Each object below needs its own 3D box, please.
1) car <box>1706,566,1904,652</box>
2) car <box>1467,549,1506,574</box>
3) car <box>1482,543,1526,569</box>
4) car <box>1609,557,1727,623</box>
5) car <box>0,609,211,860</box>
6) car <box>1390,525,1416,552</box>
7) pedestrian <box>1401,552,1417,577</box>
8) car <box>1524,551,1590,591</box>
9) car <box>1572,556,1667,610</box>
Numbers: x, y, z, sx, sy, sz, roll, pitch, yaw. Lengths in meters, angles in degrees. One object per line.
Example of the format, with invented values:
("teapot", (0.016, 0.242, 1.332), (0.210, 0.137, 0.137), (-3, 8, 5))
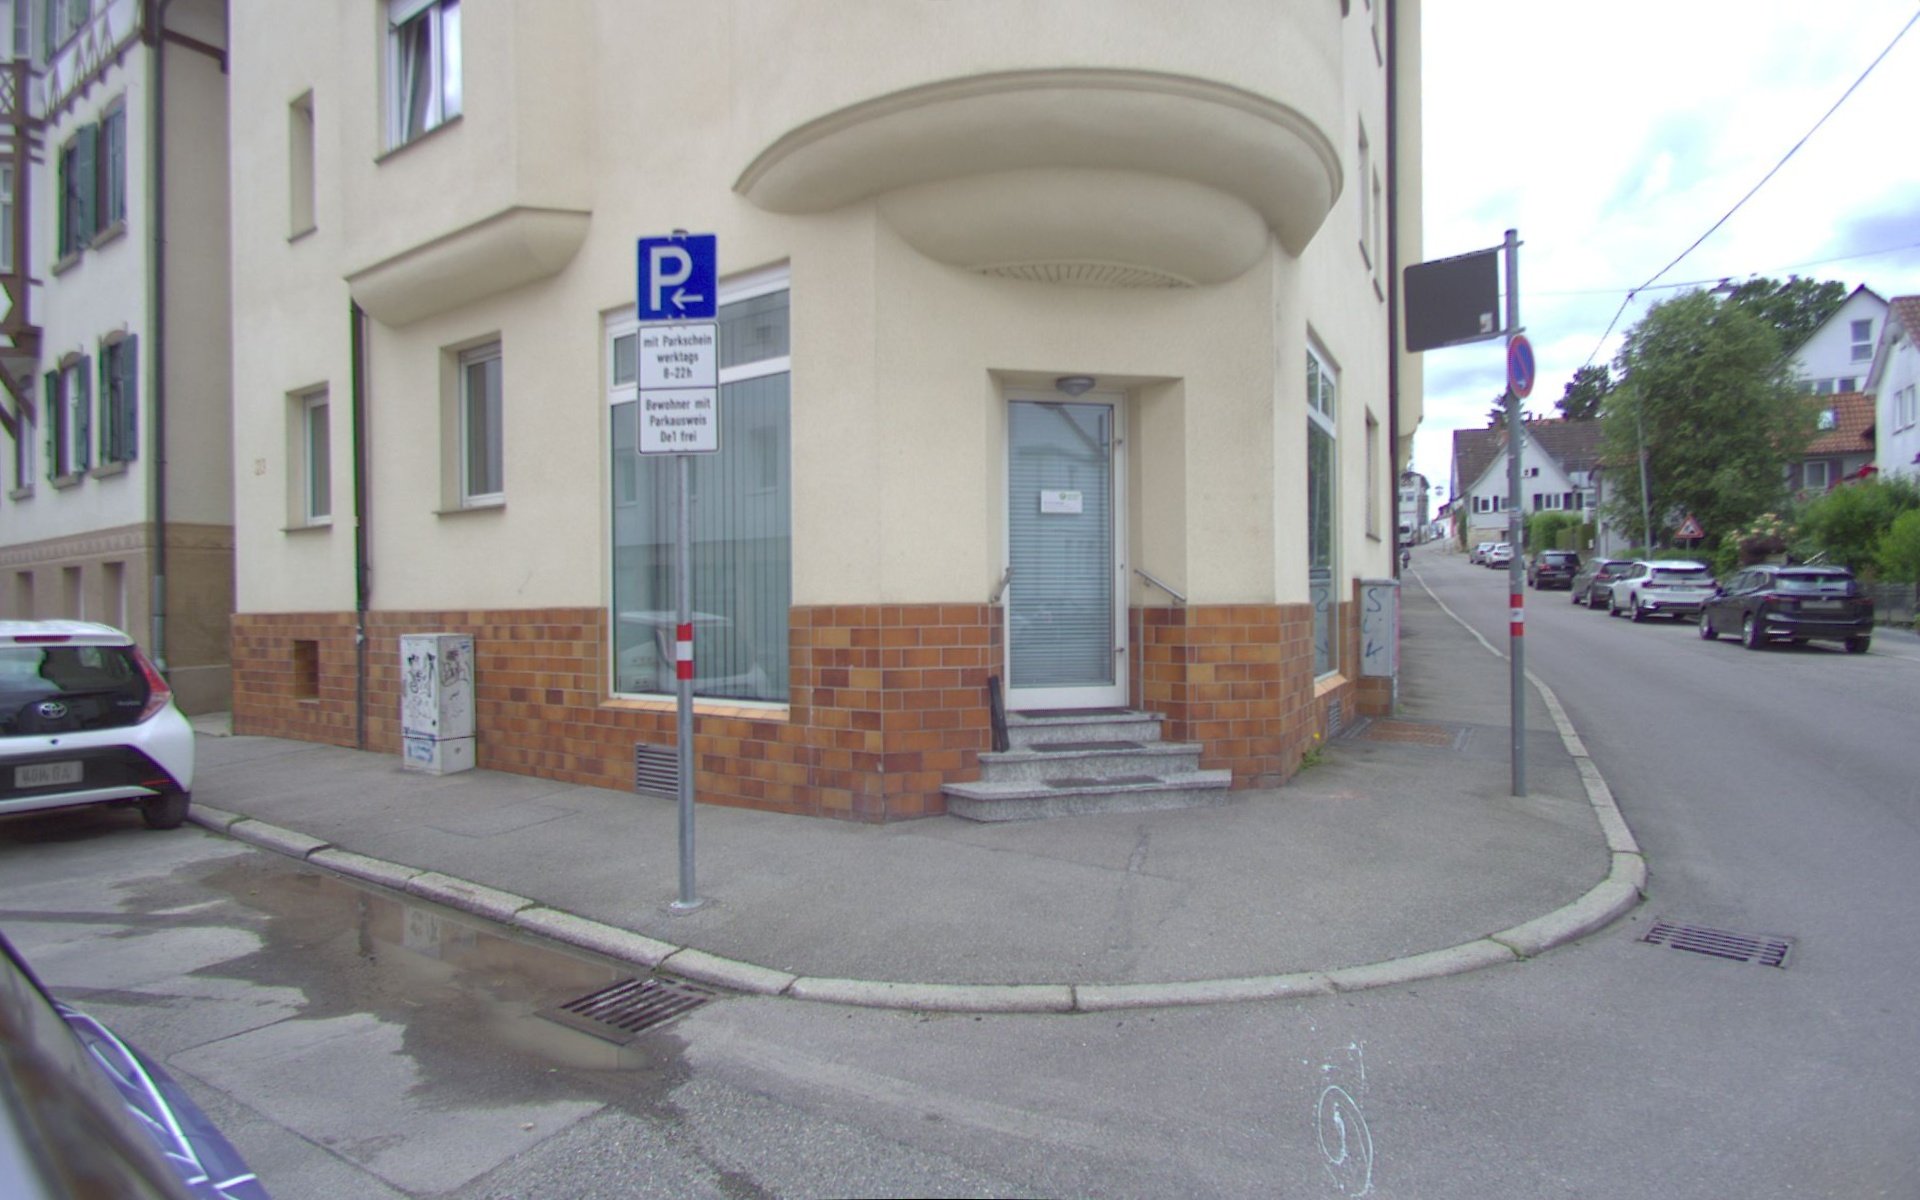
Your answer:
("car", (16.019, 0.109, 19.441), (1.845, 1.474, 3.915), (0, 1, 23))
("car", (34.720, -2.558, 66.782), (1.843, 1.460, 3.919), (0, 4, 21))
("car", (32.785, -2.647, 61.097), (1.843, 1.460, 3.918), (0, 2, 21))
("car", (19.166, -0.300, 27.582), (1.845, 1.663, 3.915), (0, 1, 23))
("car", (-7.143, 0.812, 7.321), (3.807, 1.444, 1.652), (1, -1, 35))
("car", (45.454, -6.298, 103.882), (2.180, 2.665, 5.784), (0, 3, 22))
("pedestrian", (27.746, -2.185, 62.548), (0.748, 1.500, 0.565), (-1, 1, 10))
("car", (25.876, -1.270, 43.987), (1.843, 1.663, 3.918), (0, 2, 21))
("car", (21.616, -0.619, 33.338), (1.843, 1.663, 3.918), (0, 2, 21))
